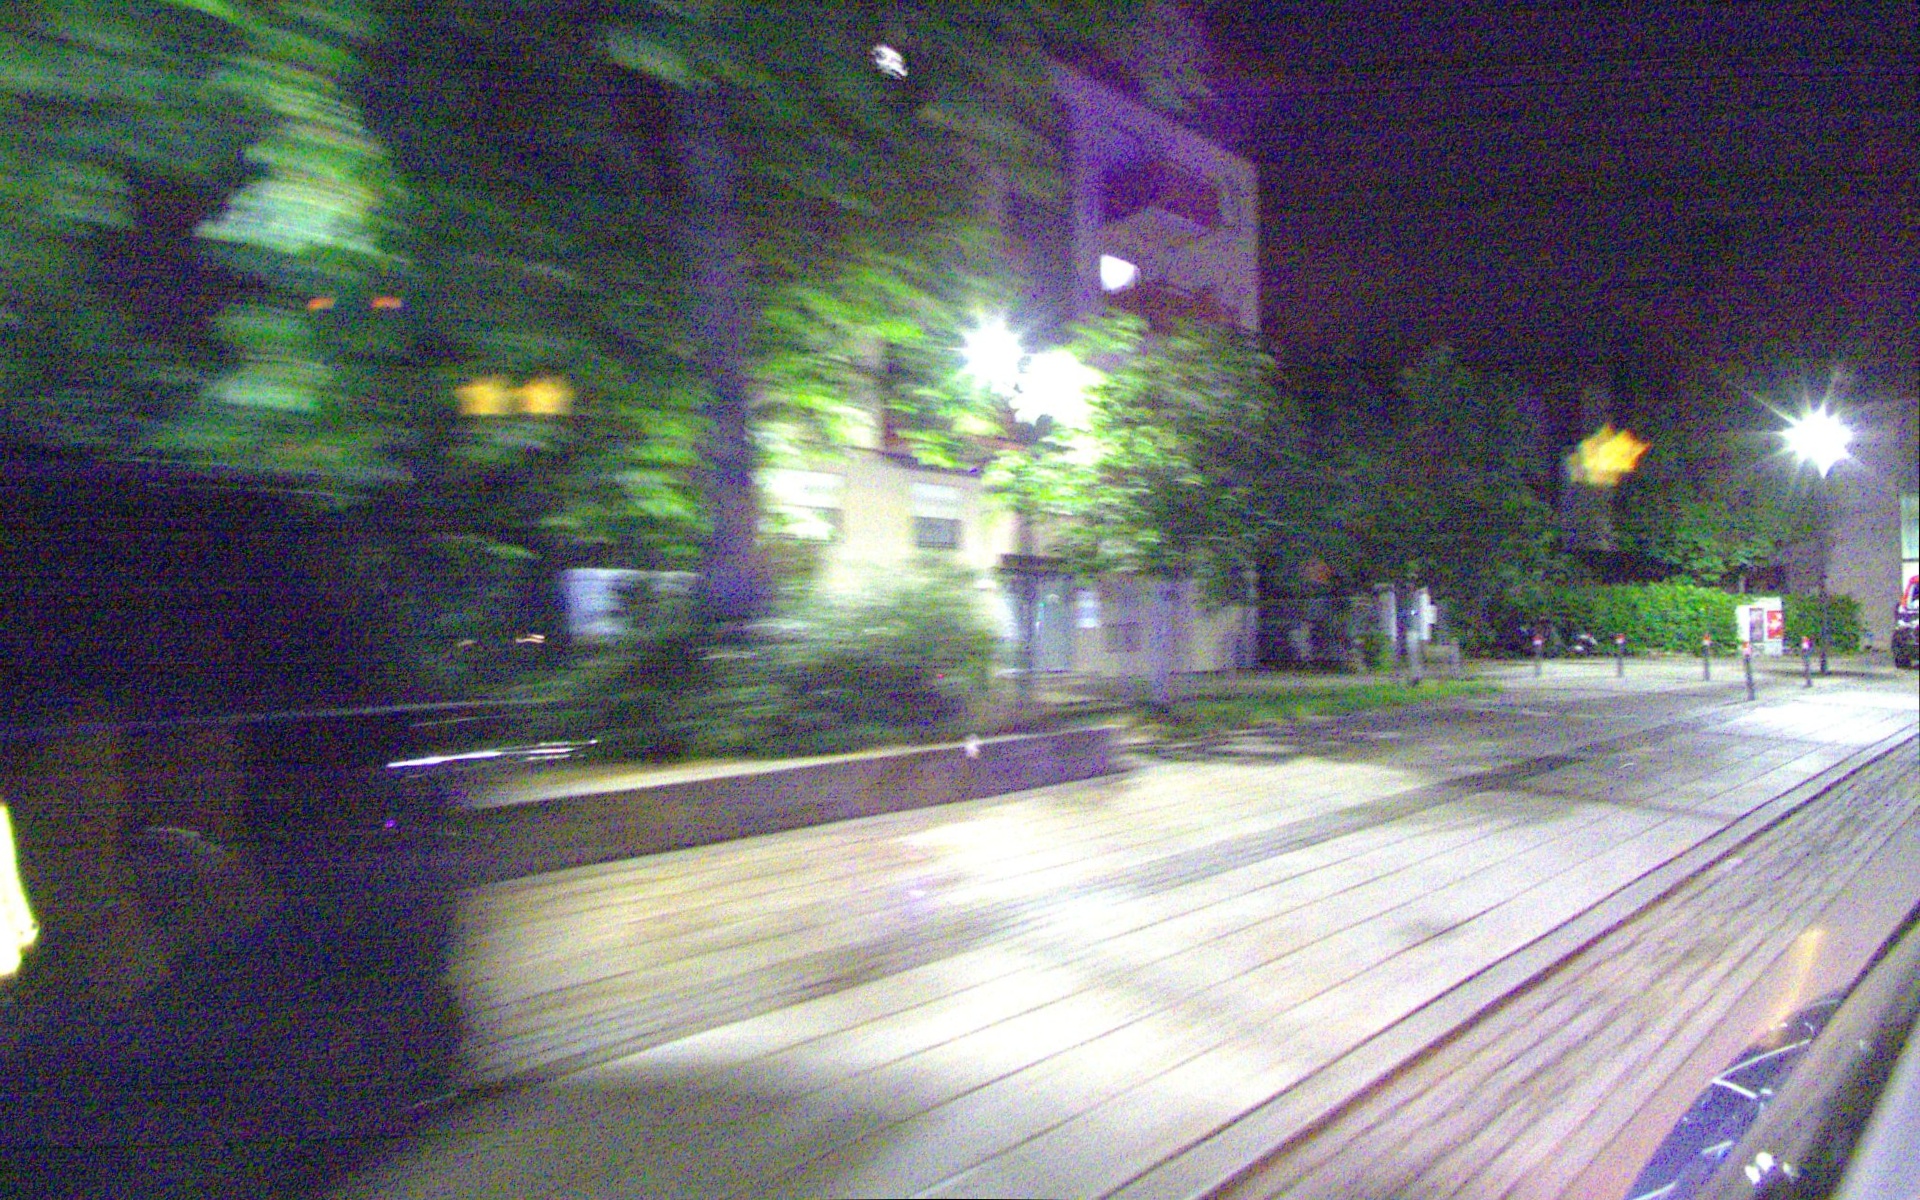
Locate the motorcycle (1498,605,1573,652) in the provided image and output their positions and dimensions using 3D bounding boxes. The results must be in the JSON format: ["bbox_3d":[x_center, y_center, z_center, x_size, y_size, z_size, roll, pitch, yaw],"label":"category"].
[{"bbox_3d":[15.718,0.770,27.677,1.718,1.267,0.426,-1,-1,42],"label":"motorcycle"}]

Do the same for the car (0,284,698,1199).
[{"bbox_3d":[-2.948,0.511,1.088,4.852,1.826,1.910,0,-1,-42],"label":"car"}]

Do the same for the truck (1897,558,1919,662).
[{"bbox_3d":[23.970,0.193,23.493,6.170,2.272,2.111,0,-1,-36],"label":"truck"}]
